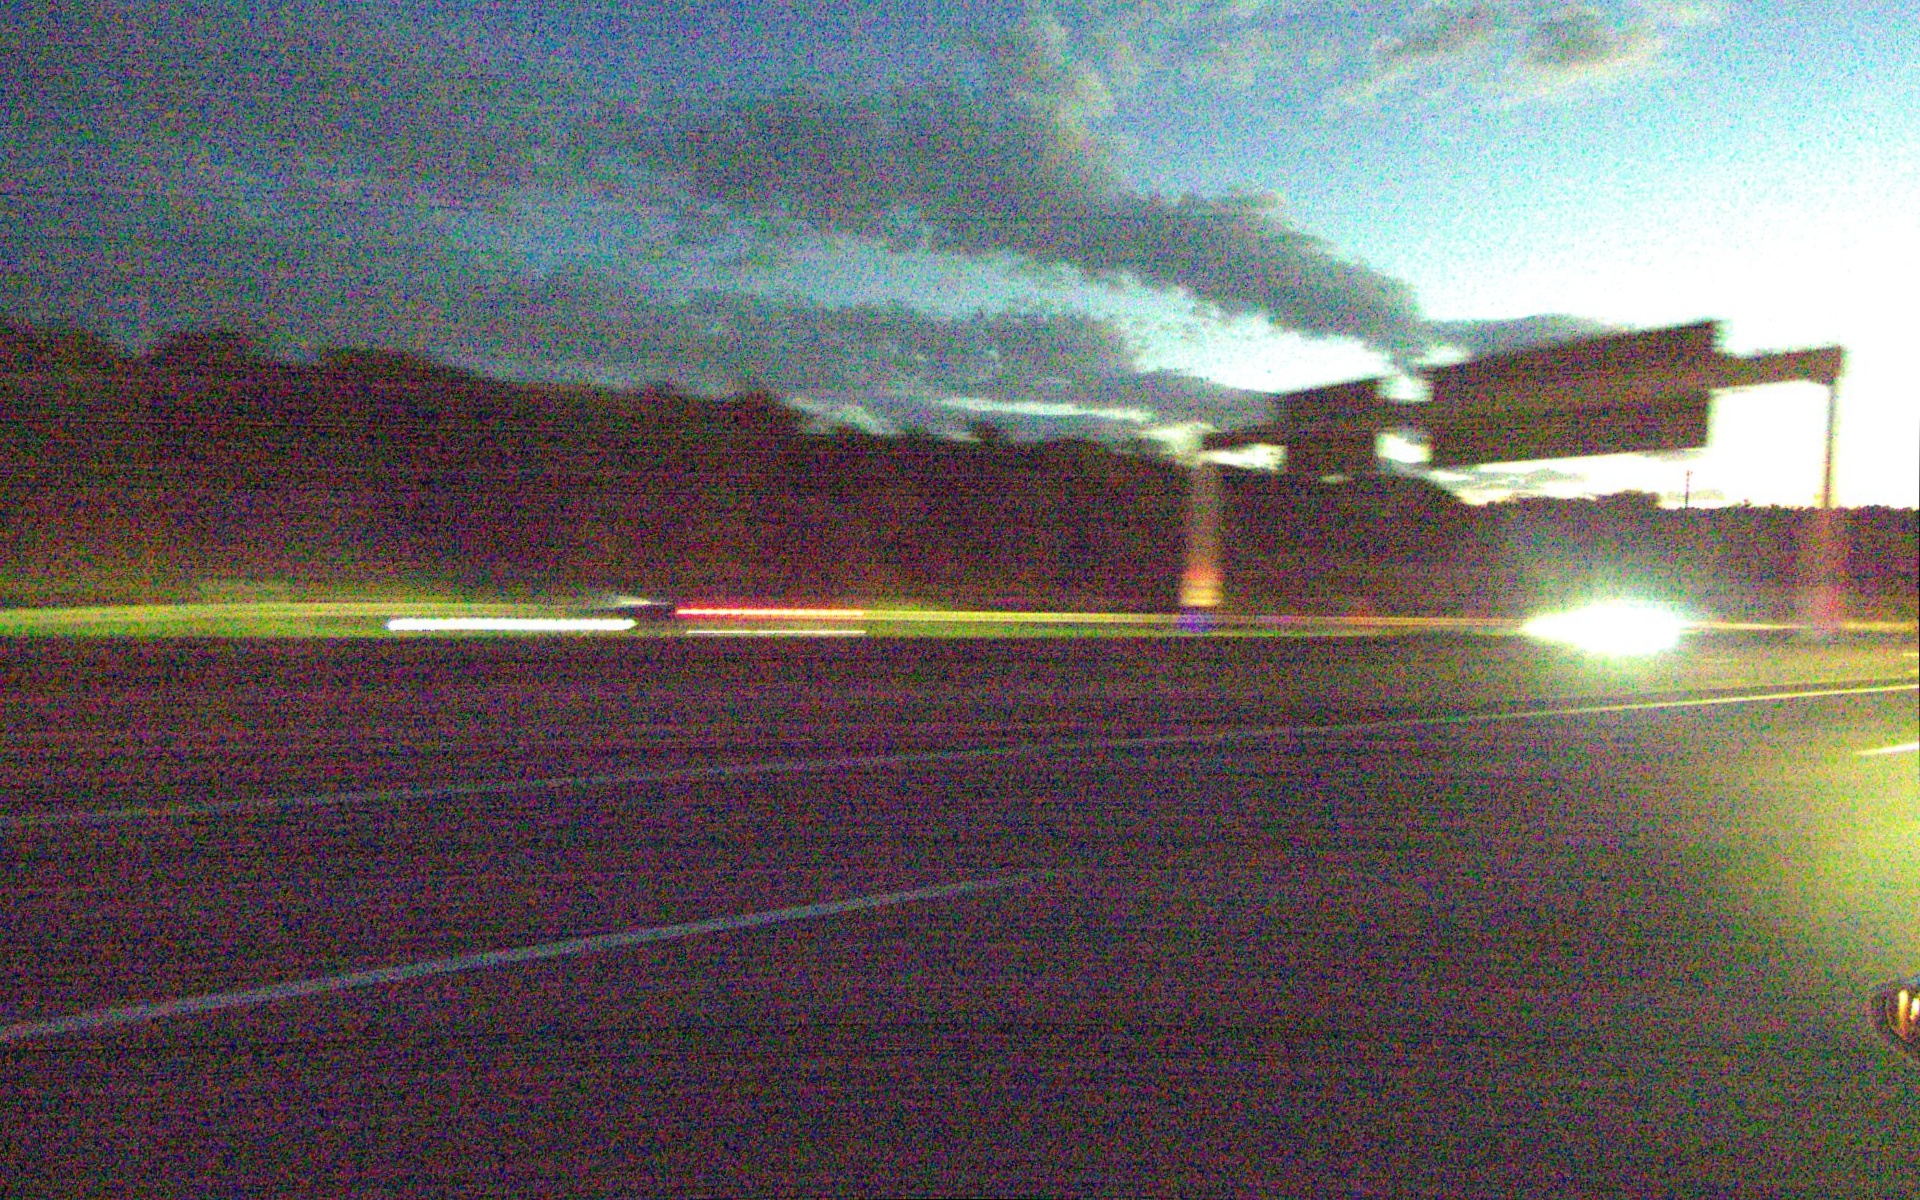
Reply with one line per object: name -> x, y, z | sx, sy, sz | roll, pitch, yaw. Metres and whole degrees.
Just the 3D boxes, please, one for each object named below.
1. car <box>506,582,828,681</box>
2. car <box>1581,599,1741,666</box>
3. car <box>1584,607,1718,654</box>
car -> -5.094, 0.513, 17.695 | 5.141, 1.529, 1.984 | 1, 1, -30
car -> 19.925, 0.899, 28.516 | 4.605, 1.757, 1.984 | 1, 1, -31
car -> 24.987, 1.084, 36.280 | 5.124, 1.529, 1.984 | 1, 1, -31
